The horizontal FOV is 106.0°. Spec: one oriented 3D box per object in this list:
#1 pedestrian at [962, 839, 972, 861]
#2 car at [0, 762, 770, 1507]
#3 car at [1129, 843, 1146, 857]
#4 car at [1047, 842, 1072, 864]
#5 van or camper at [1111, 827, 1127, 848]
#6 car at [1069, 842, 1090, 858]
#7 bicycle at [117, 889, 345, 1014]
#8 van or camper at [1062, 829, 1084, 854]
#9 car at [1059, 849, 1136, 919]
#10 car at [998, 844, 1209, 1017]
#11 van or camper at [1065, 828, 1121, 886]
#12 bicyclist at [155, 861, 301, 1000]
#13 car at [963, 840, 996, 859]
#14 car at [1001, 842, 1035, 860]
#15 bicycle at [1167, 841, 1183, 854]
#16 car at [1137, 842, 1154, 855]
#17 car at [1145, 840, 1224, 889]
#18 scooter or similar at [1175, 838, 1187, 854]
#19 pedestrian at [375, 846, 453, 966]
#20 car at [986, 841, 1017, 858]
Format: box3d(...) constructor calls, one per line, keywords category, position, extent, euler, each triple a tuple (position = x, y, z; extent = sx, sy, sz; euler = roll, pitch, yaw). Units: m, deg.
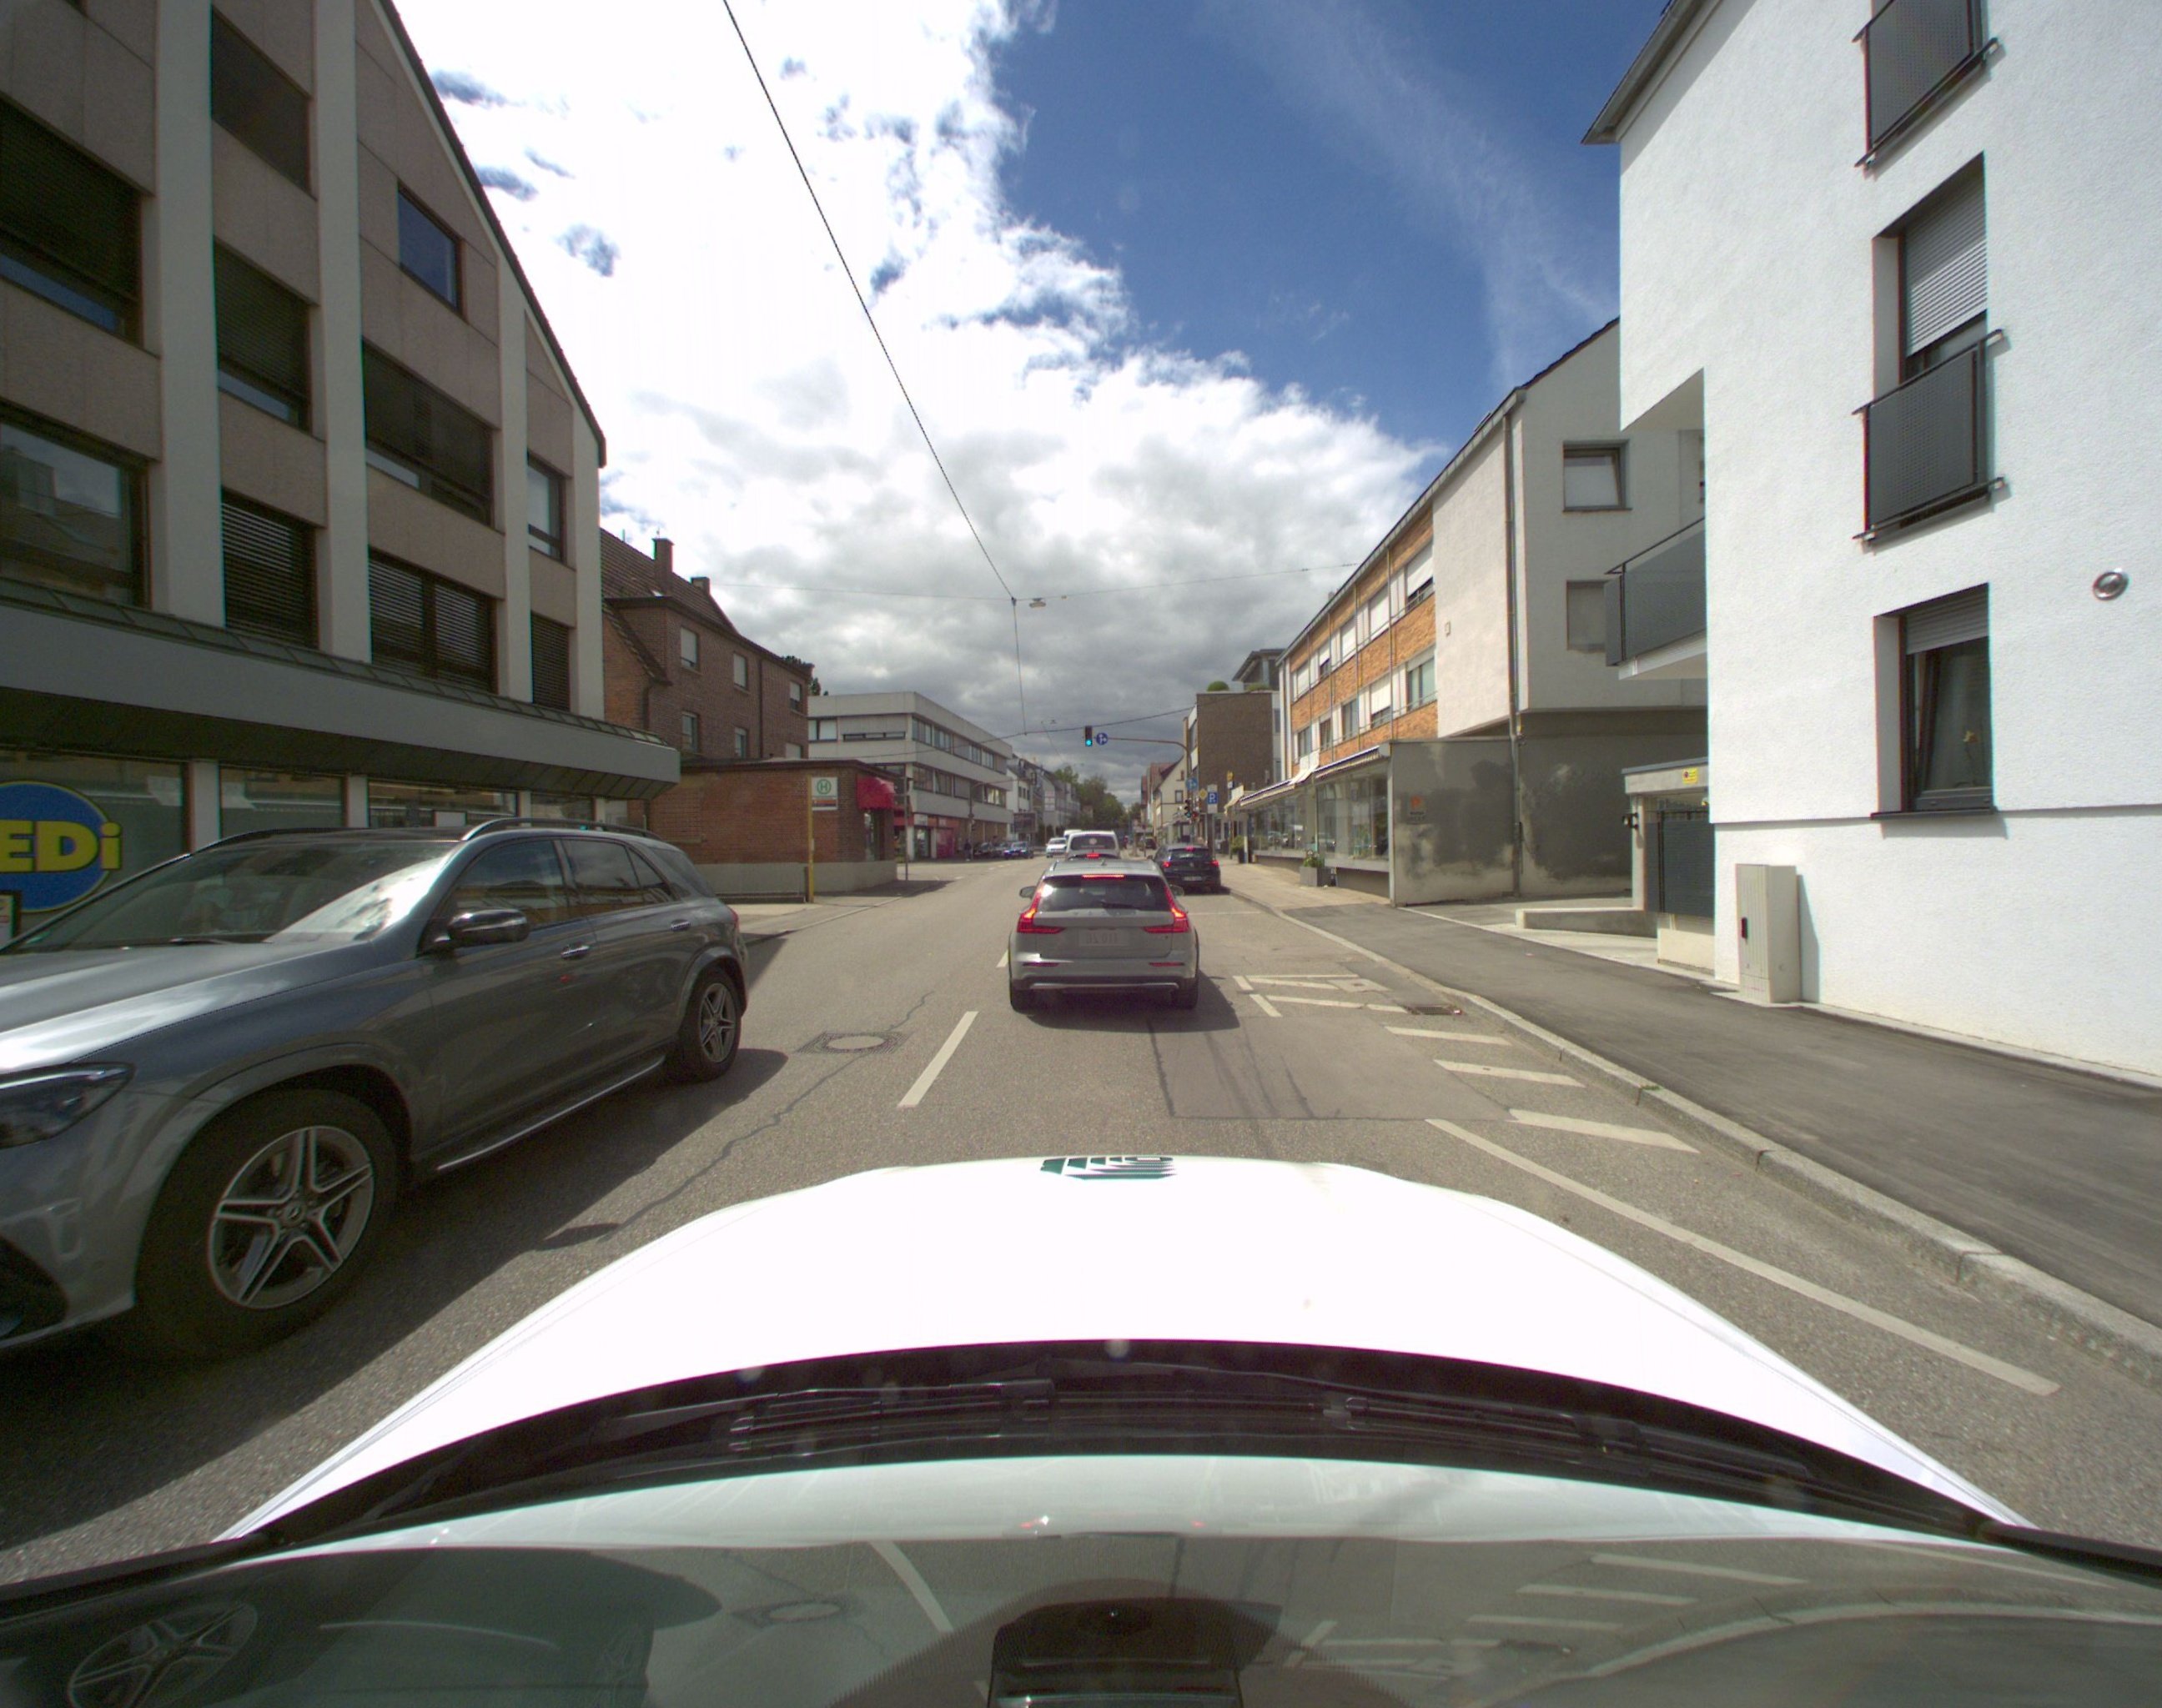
box3d(category="pedestrian", position=(-8.529, -0.319, 60.902), extent=(0.616, 1.641, 0.661), euler=(-2, 1, 3))
box3d(category="car", position=(-3.469, 0.662, 4.127), extent=(1.934, 1.719, 4.597), euler=(-2, 0, 0))
box3d(category="car", position=(5.323, -0.366, 76.352), extent=(1.433, 1.287, 3.249), euler=(-1, 0, 2))
box3d(category="car", position=(-1.756, -0.093, 67.517), extent=(1.768, 1.612, 4.122), euler=(-2, 2, 2))
box3d(category="van or camper", position=(5.083, -2.216, 108.760), extent=(2.114, 2.686, 4.785), euler=(-2, 1, 3))
box3d(category="car", position=(-0.120, -0.416, 79.247), extent=(1.782, 1.511, 3.850), euler=(-1, 0, 5))
box3d(category="bicycle", position=(-8.773, 0.954, 8.525), extent=(0.442, 1.050, 1.735), euler=(5, 1, 2))
box3d(category="van or camper", position=(-0.847, -1.375, 87.077), extent=(2.141, 2.556, 5.438), euler=(-2, 2, 0))
box3d(category="car", position=(0.409, 0.635, 19.230), extent=(1.644, 1.482, 3.609), euler=(0, 1, 2))
box3d(category="car", position=(0.260, 0.674, 9.172), extent=(1.829, 1.486, 4.001), euler=(-1, 0, 2))
box3d(category="van or camper", position=(0.457, 0.049, 28.706), extent=(1.812, 1.834, 4.003), euler=(-1, 2, 2))
box3d(category="bicyclist", position=(-8.883, 0.765, 8.511), extent=(0.665, 1.337, 0.762), euler=(3, 0, 1))
box3d(category="car", position=(-8.404, -0.393, 67.795), extent=(1.776, 1.464, 4.094), euler=(0, 1, 6))
box3d(category="car", position=(-5.012, -0.297, 65.681), extent=(1.984, 1.337, 4.363), euler=(-2, 1, 5))
box3d(category="bicycle", position=(8.262, -0.560, 71.750), extent=(0.555, 1.144, 2.288), euler=(-2, 1, -15))
box3d(category="car", position=(7.663, -0.686, 96.802), extent=(1.705, 1.464, 3.999), euler=(0, -1, 0))
box3d(category="car", position=(3.049, 0.297, 24.791), extent=(1.803, 1.346, 3.715), euler=(-1, 0, -2))
box3d(category="scooter or similar", position=(8.405, -0.659, 68.374), extent=(0.342, 1.253, 1.236), euler=(-4, 0, -24))
box3d(category="pedestrian", position=(-9.004, 0.678, 11.011), extent=(0.776, 1.558, 0.567), euler=(1, -2, -39))
box3d(category="car", position=(-7.125, -0.459, 73.725), extent=(1.894, 1.443, 4.451), euler=(0, 1, 6))
